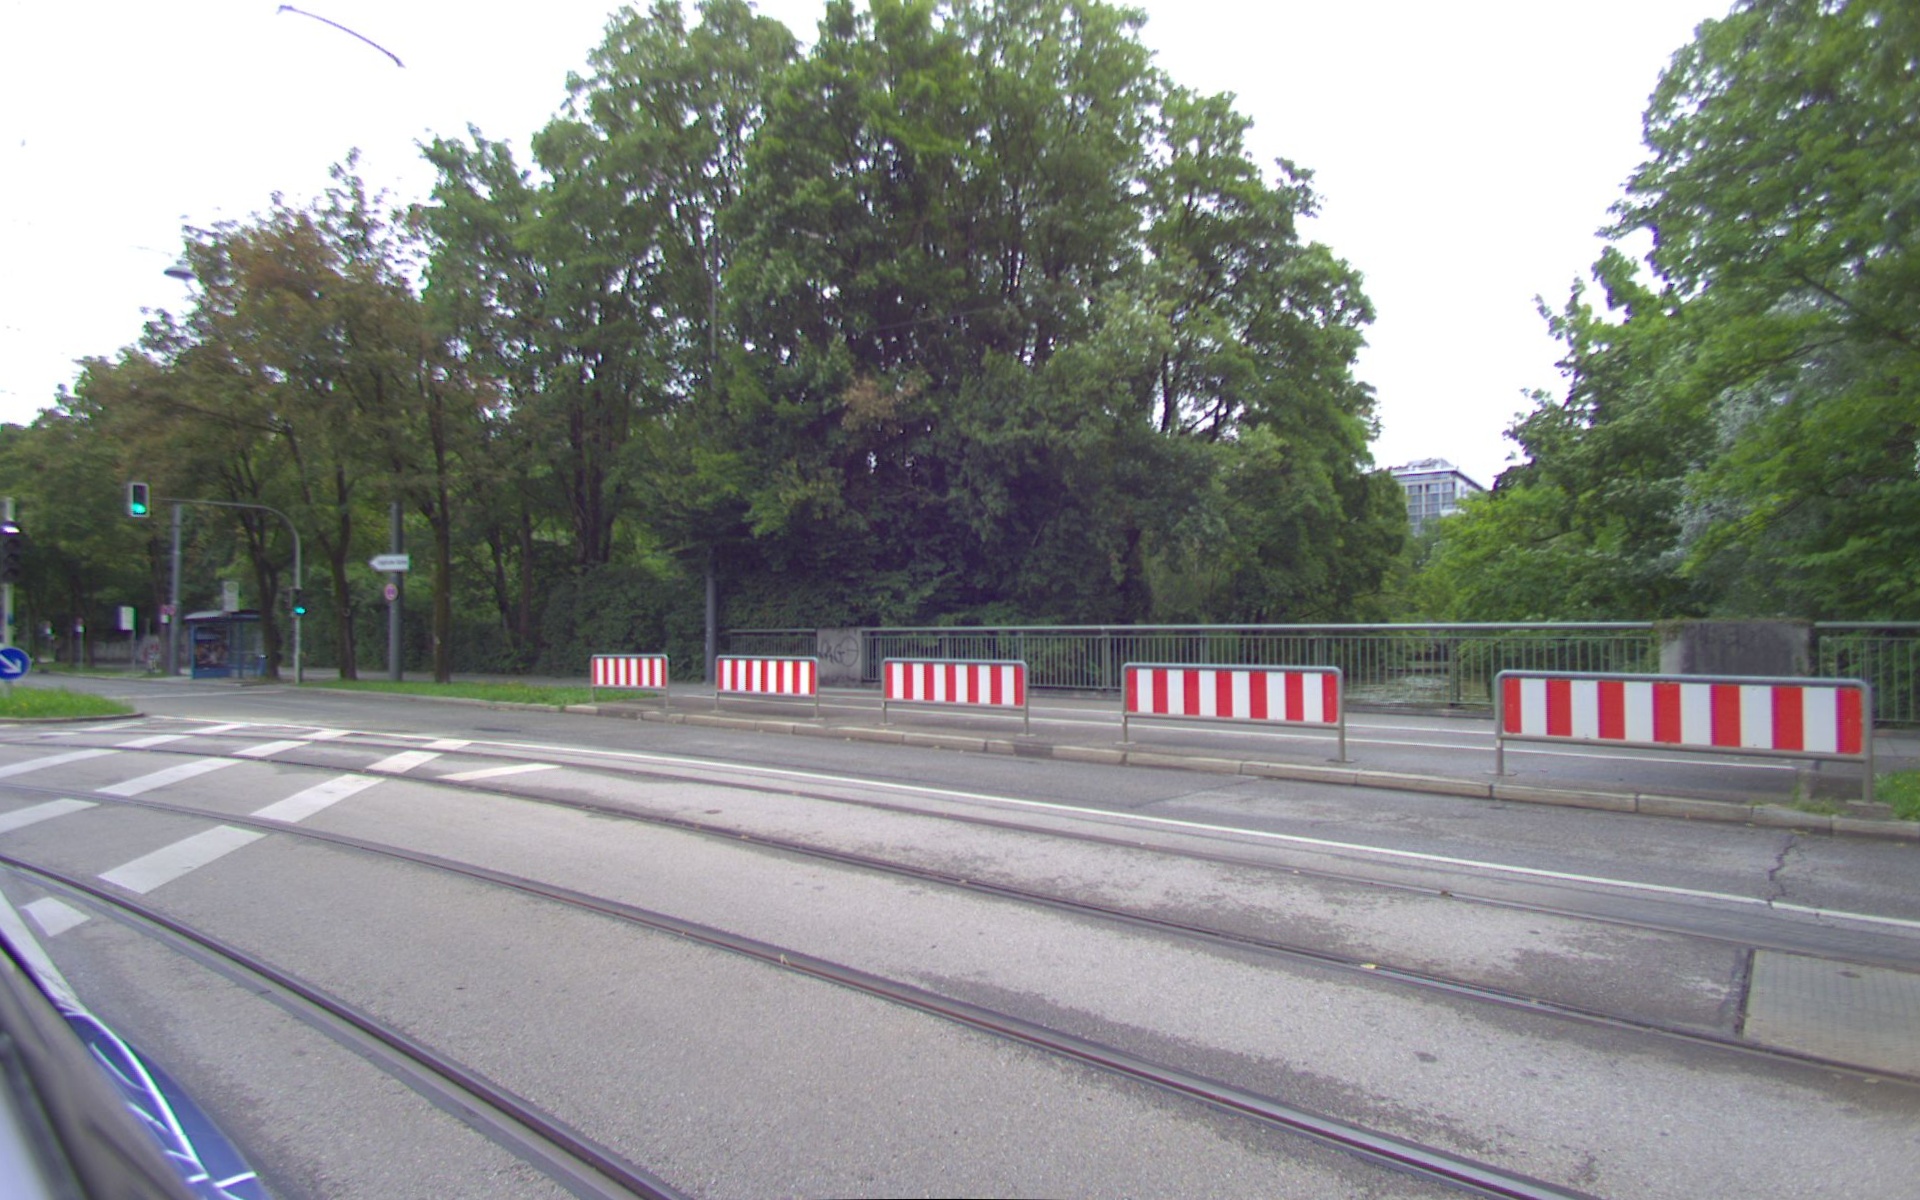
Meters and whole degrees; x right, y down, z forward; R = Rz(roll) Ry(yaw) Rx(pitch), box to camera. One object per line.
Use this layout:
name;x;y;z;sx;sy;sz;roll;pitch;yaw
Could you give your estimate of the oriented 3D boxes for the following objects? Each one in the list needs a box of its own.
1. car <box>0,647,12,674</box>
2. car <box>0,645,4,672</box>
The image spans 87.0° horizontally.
car;-60.576;3.779;62.965;3.996;1.552;1.864;-2;0;40
car;-64.739;3.874;66.829;3.996;1.739;1.864;-2;0;40
